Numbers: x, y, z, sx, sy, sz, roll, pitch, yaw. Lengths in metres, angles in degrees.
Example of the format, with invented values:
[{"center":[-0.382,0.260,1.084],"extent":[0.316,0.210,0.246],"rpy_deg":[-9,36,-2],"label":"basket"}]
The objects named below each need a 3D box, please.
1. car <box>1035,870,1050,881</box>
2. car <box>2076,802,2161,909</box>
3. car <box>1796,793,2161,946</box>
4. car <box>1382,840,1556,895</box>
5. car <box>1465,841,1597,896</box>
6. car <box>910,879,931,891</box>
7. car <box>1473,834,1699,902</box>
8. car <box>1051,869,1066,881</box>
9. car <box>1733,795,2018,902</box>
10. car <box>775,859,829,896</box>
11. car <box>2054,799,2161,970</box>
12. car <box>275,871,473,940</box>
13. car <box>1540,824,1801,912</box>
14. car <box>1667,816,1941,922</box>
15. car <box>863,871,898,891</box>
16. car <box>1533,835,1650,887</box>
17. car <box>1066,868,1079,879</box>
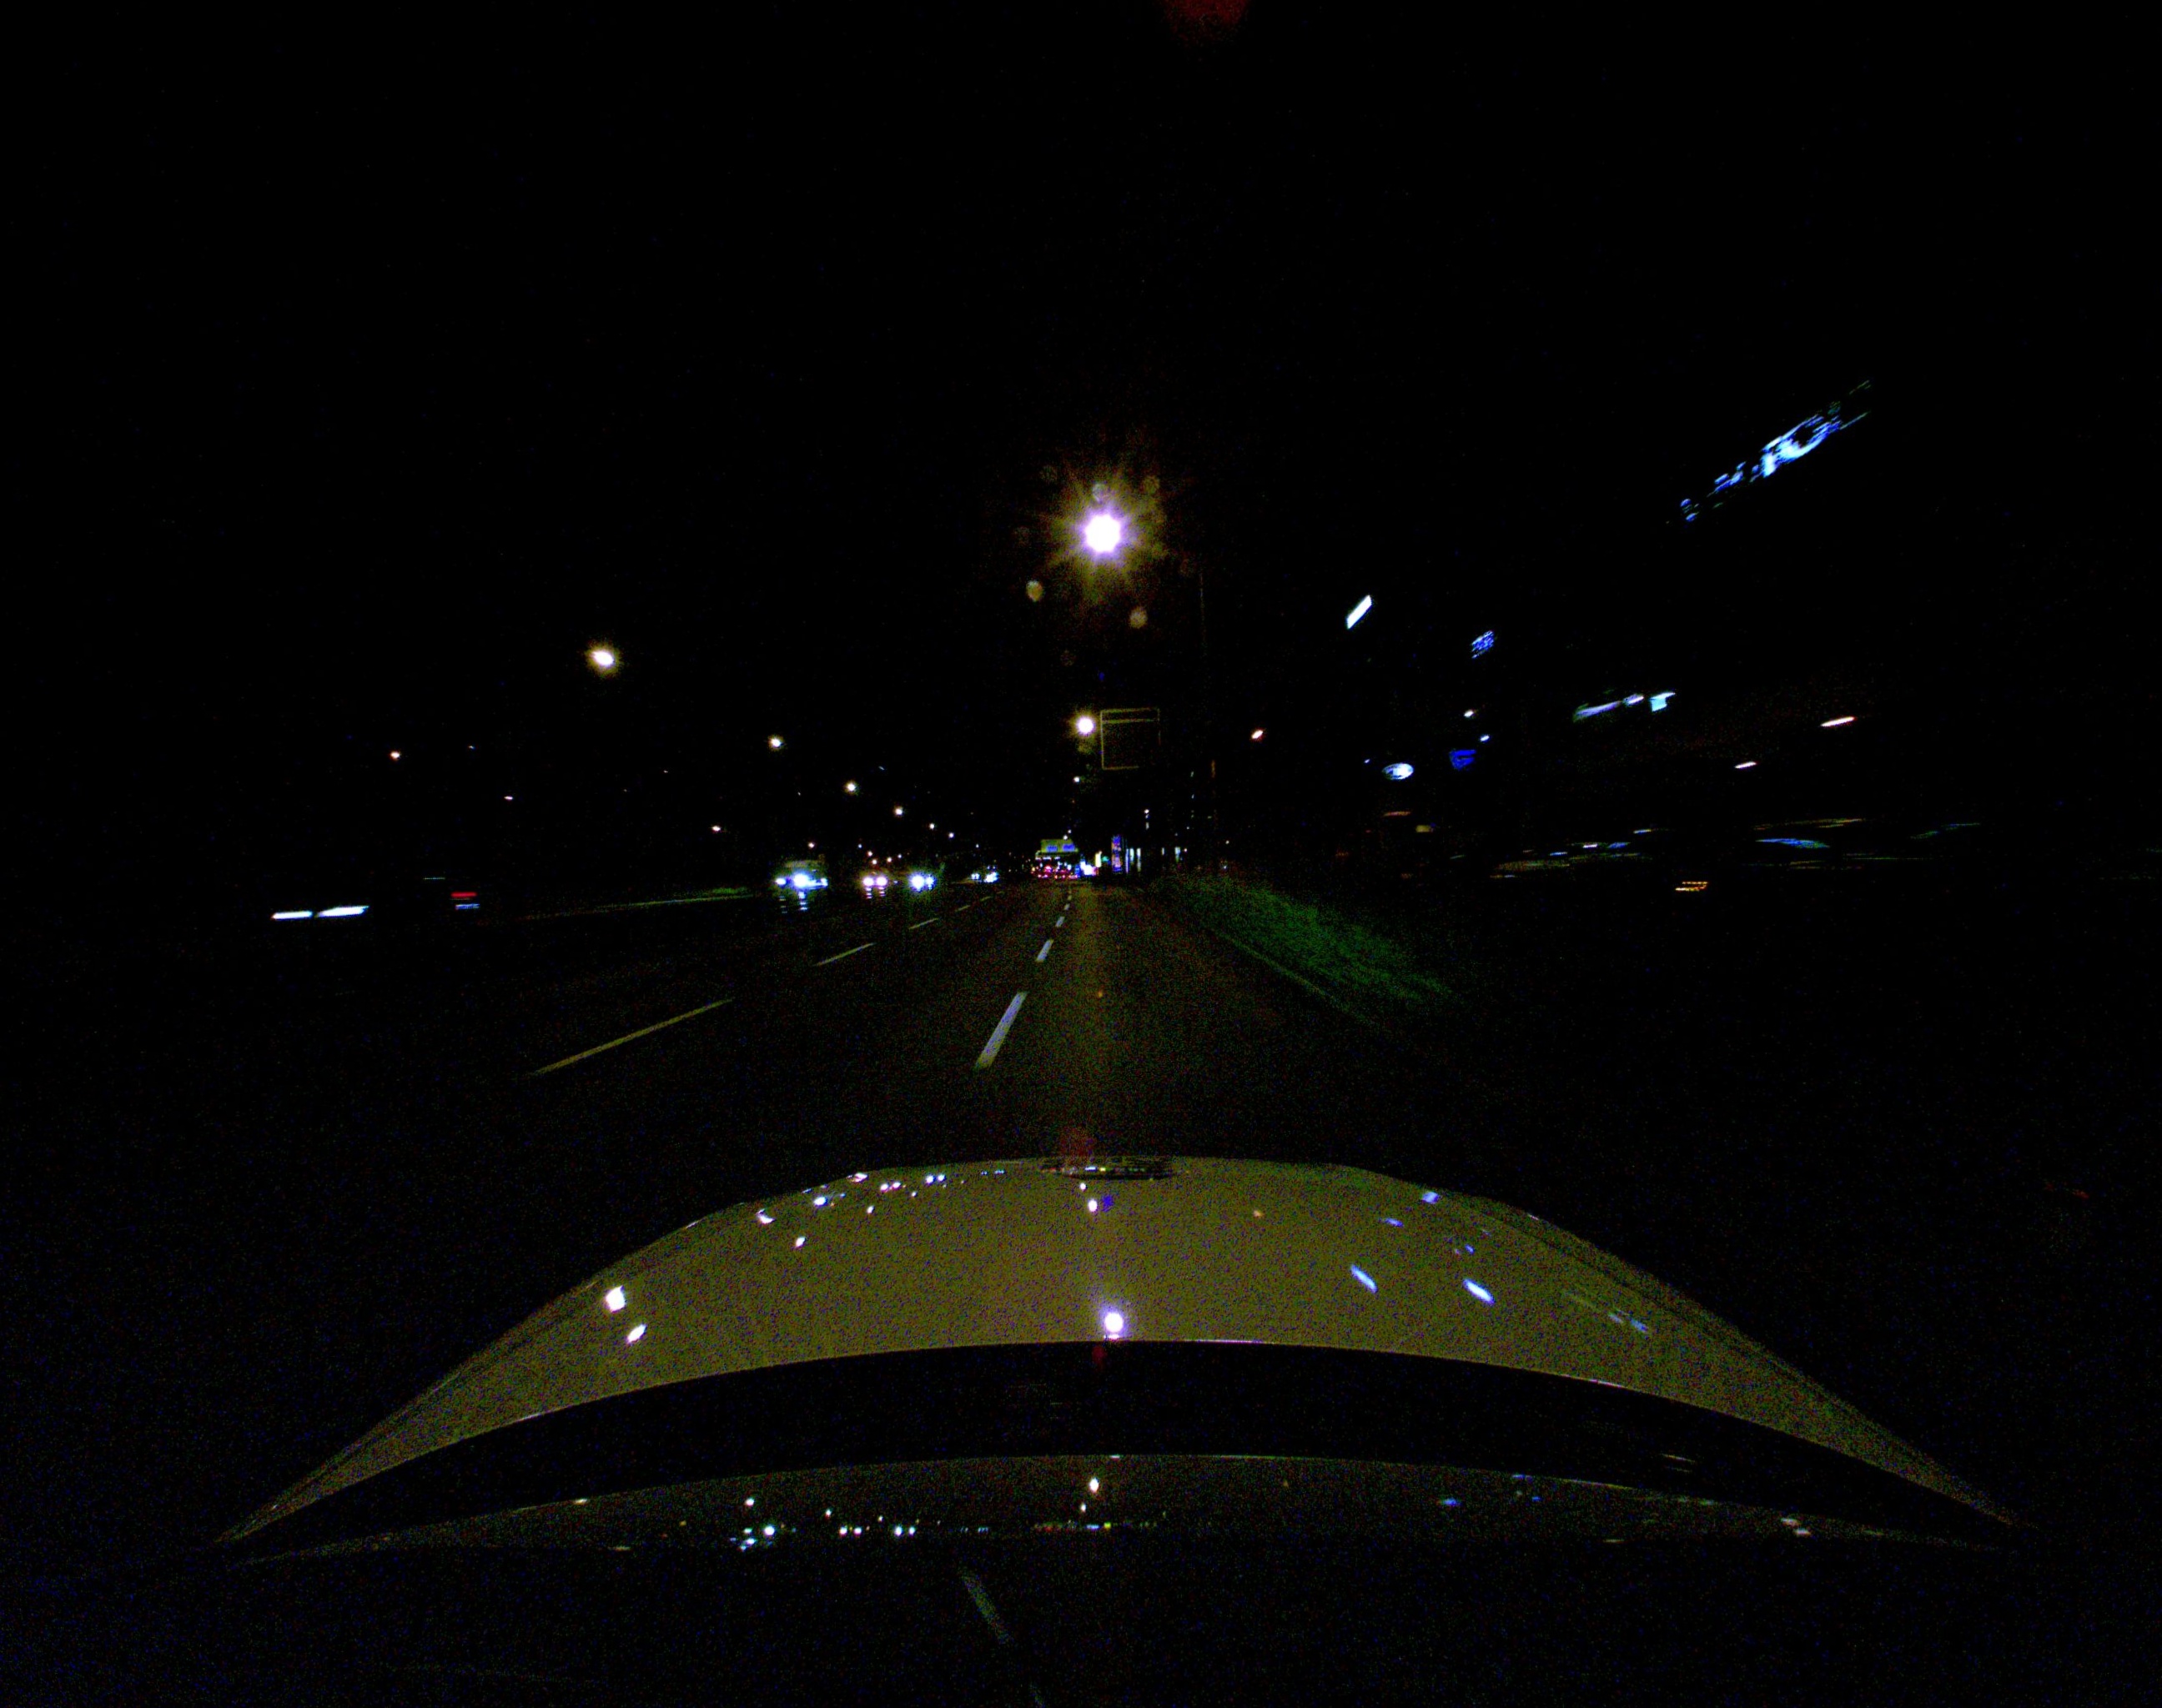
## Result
[{"center":[-7.159,3.976,151.721],"extent":[2.254,2.014,4.827],"rpy_deg":[-1,-1,1],"label":"car"},{"center":[16.034,-0.001,11.133],"extent":[1.328,1.486,3.037],"rpy_deg":[-1,-1,-39],"label":"car"},{"center":[11.144,0.122,9.919],"extent":[3.998,1.470,1.822],"rpy_deg":[-4,0,-18],"label":"car"},{"center":[10.831,0.364,22.837],"extent":[4.125,1.420,1.869],"rpy_deg":[0,-1,-12],"label":"car"},{"center":[18.190,0.583,33.316],"extent":[1.989,2.014,5.619],"rpy_deg":[-1,-1,-4],"label":"car"},{"center":[-20.852,3.999,106.022],"extent":[1.861,1.429,4.954],"rpy_deg":[-1,-1,-1],"label":"car"},{"center":[11.152,0.260,17.967],"extent":[4.649,1.264,1.932],"rpy_deg":[-2,0,-23],"label":"car"},{"center":[-4.031,3.718,147.256],"extent":[2.347,2.129,4.827],"rpy_deg":[-1,-1,1],"label":"car"},{"center":[15.791,-0.009,16.369],"extent":[1.596,1.796,3.825],"rpy_deg":[0,-4,-39],"label":"car"},{"center":[-22.666,1.904,66.514],"extent":[2.141,2.671,6.953],"rpy_deg":[-4,-1,-3],"label":"car"},{"center":[10.903,0.154,7.146],"extent":[4.002,1.391,1.814],"rpy_deg":[-3,1,-21],"label":"car"},{"center":[-19.653,1.349,22.941],"extent":[1.773,1.713,4.228],"rpy_deg":[-1,-1,2],"label":"car"},{"center":[10.987,0.213,15.249],"extent":[3.995,1.424,1.899],"rpy_deg":[-1,0,-16],"label":"car"},{"center":[10.985,0.197,12.386],"extent":[3.616,1.433,1.667],"rpy_deg":[-1,-1,-22],"label":"car"},{"center":[-16.119,2.126,65.782],"extent":[1.615,1.440,4.338],"rpy_deg":[-3,-1,1],"label":"car"},{"center":[21.059,0.320,33.810],"extent":[1.808,1.994,4.401],"rpy_deg":[-1,-1,-5],"label":"car"},{"center":[-1.761,4.086,171.977],"extent":[2.418,2.113,4.827],"rpy_deg":[-1,-1,1],"label":"car"}]
